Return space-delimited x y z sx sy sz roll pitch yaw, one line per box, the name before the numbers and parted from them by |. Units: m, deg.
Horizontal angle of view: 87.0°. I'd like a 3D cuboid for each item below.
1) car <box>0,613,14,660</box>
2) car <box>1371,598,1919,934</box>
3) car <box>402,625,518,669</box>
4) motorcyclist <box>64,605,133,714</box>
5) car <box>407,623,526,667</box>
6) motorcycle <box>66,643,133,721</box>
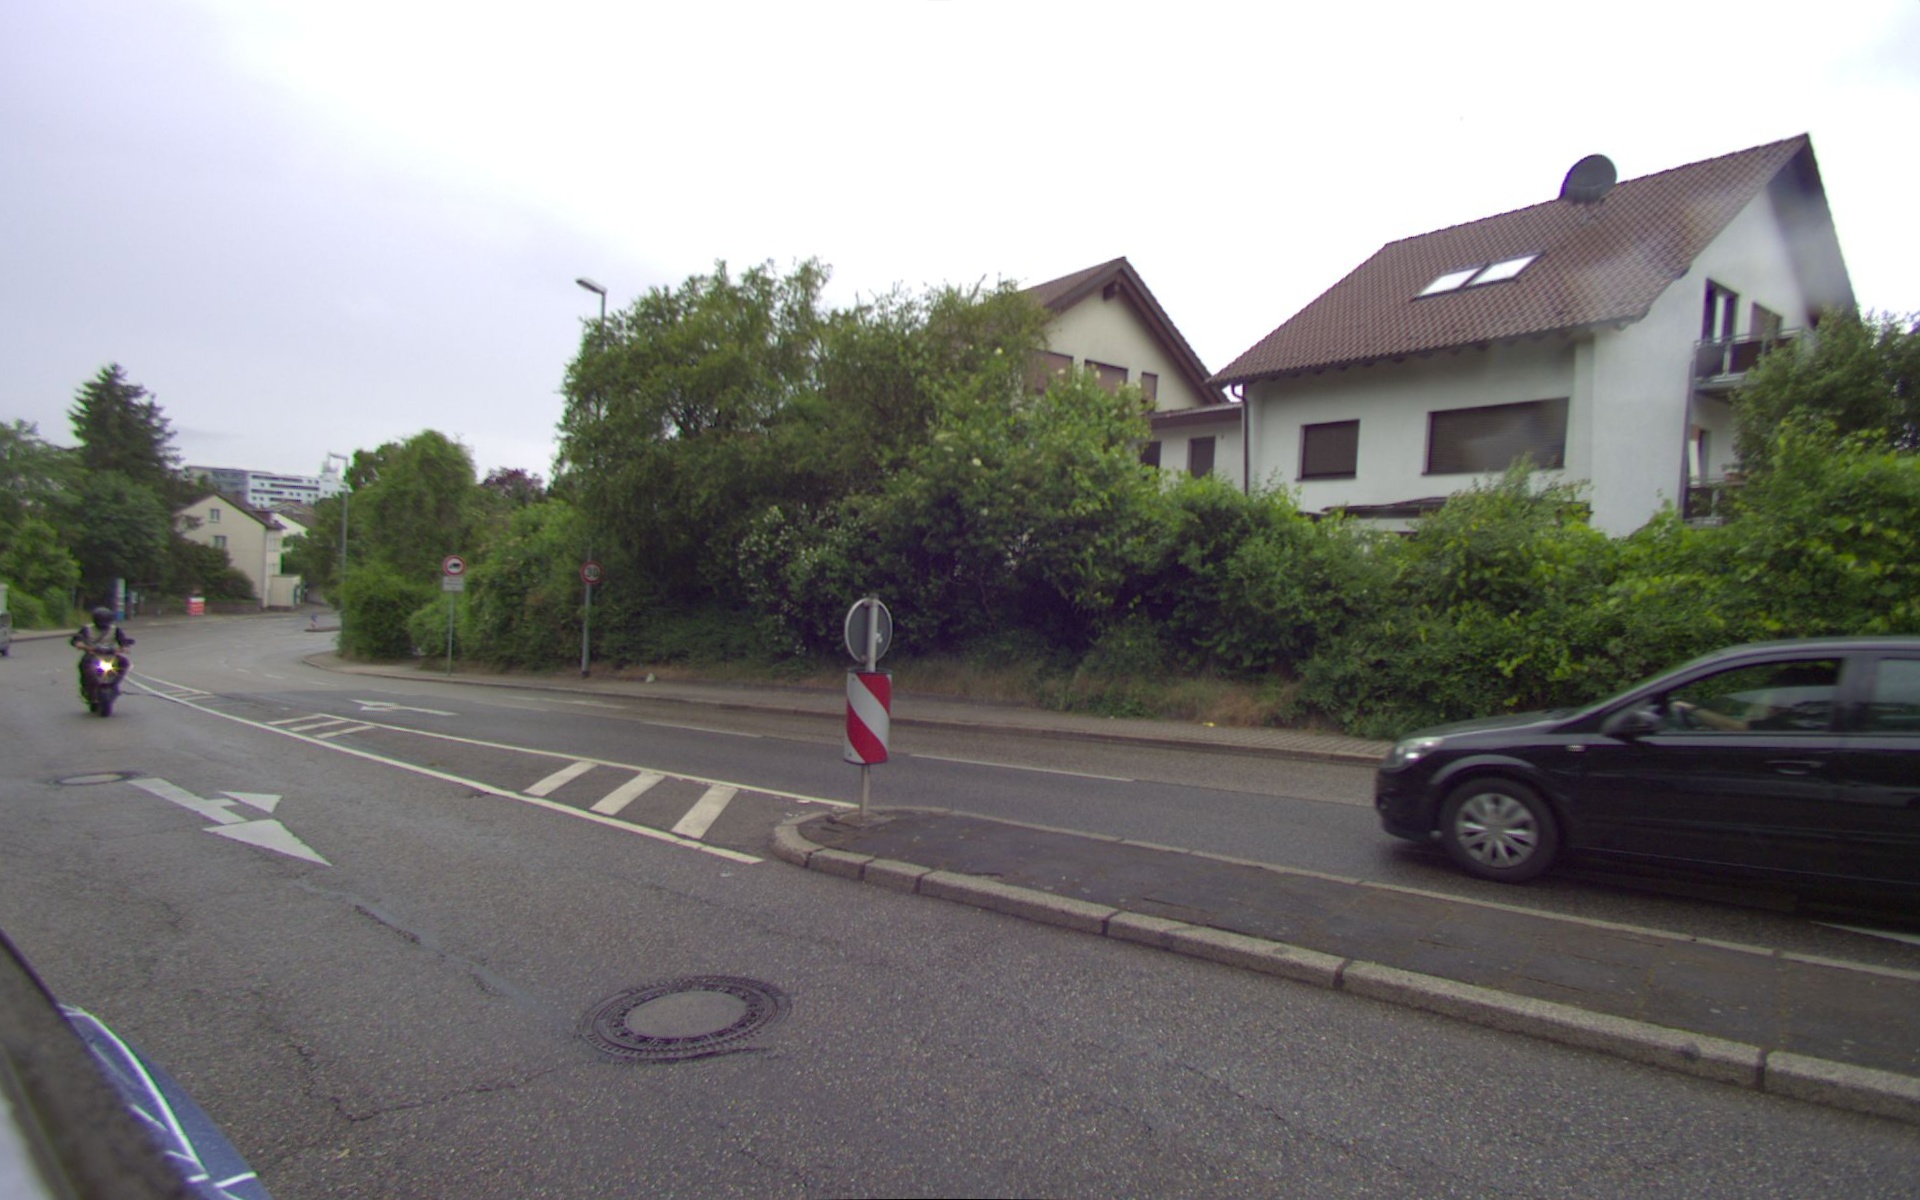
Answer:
car | -37.093 1.346 37.859 1.749 1.788 4.011 3 -3 -33
car | 4.626 0.797 5.603 3.996 1.521 1.876 -1 -3 40
car | -20.995 1.939 42.550 3.939 1.548 2.003 -3 1 -42
motorcyclist | -13.553 0.912 15.919 0.756 1.655 0.675 3 -2 -43
car | -19.514 1.733 40.107 3.853 1.451 1.814 -3 1 -41
motorcycle | -13.389 1.242 15.731 0.682 1.061 1.749 3 -1 -43
